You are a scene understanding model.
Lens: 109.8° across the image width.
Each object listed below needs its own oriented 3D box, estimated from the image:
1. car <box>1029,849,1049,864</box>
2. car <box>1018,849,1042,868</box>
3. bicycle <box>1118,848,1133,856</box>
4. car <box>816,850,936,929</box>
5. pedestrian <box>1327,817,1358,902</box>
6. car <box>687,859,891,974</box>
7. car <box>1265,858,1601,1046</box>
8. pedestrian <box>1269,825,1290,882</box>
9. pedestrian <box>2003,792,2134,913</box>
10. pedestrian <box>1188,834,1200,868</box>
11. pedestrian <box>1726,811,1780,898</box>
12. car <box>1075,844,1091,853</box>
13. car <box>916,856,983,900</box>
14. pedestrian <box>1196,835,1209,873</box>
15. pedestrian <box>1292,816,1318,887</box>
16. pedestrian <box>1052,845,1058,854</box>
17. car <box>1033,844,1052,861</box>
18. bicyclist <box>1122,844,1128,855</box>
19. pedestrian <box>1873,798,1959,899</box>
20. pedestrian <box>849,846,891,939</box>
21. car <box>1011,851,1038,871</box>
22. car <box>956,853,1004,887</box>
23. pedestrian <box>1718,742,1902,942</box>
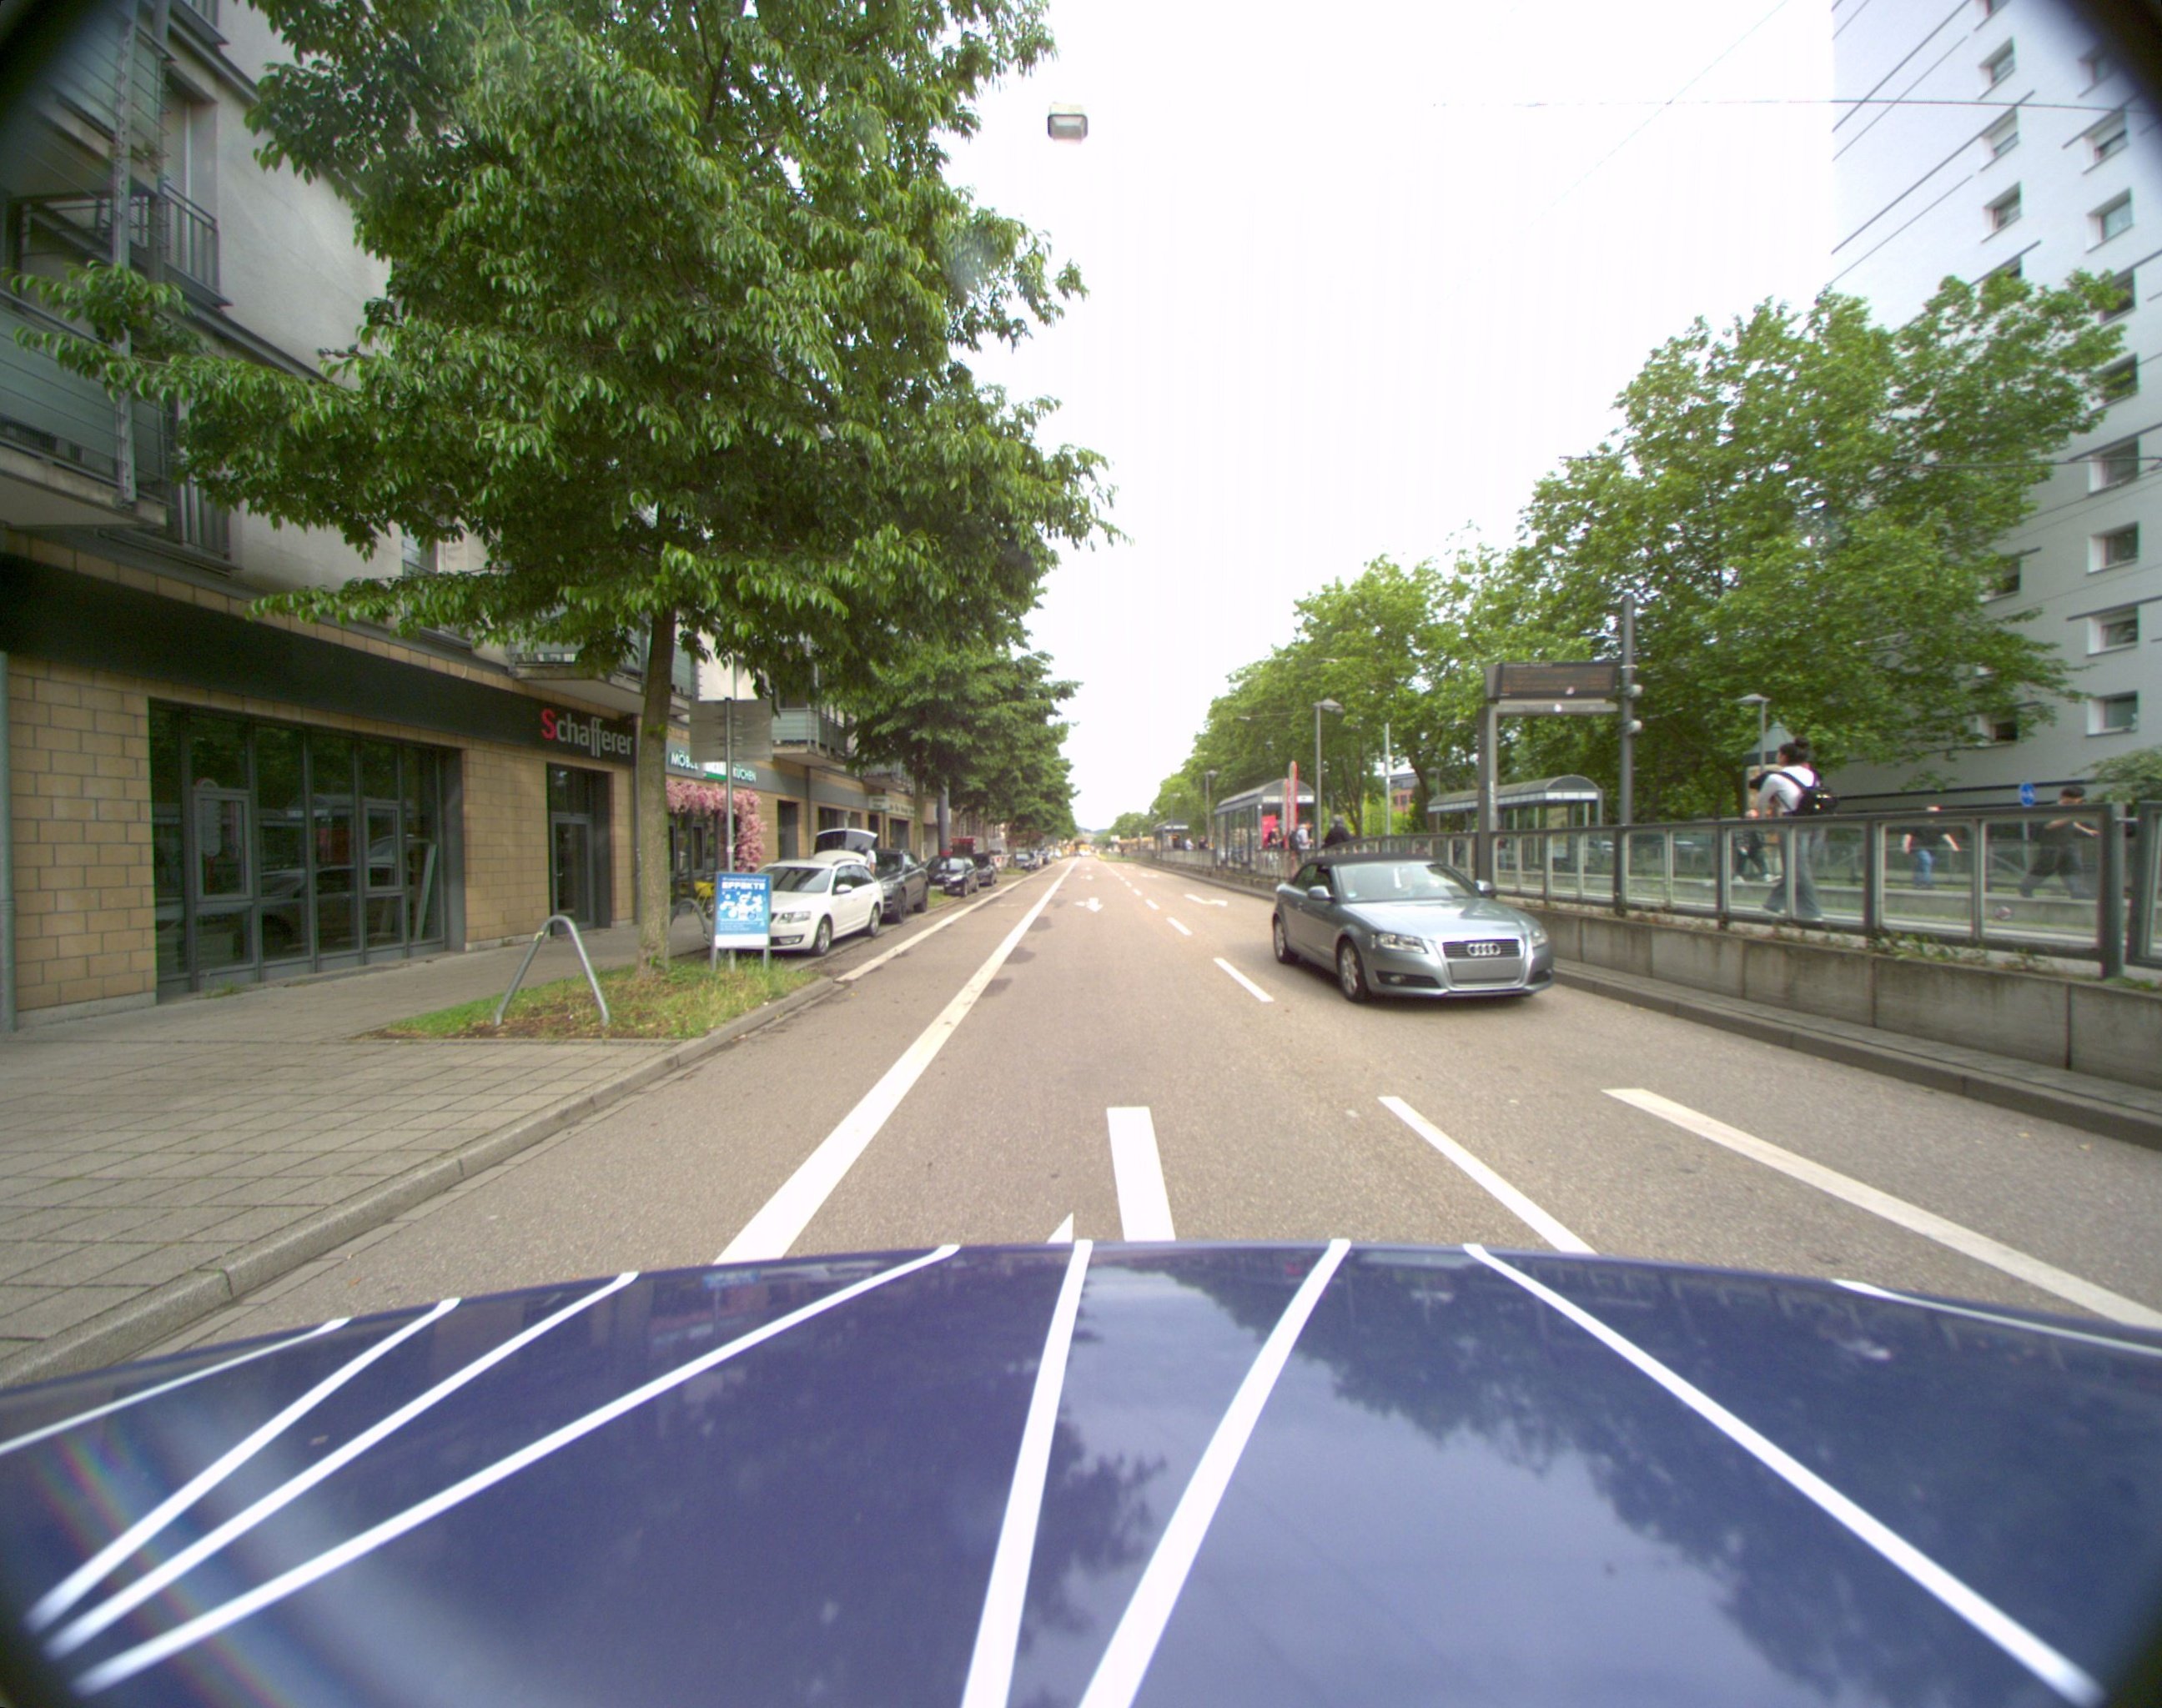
[{"bbox_3d":[-3.967,0.209,72.461,1.612,1.393,3.667,2,1,1],"label":"car"},{"bbox_3d":[-4.121,0.364,62.174,1.612,1.393,3.667,2,1,1],"label":"car"},{"bbox_3d":[5.730,-0.286,98.021,1.781,0.925,0.491,-2,1,0],"label":"bicycle"},{"bbox_3d":[-4.712,0.744,18.013,1.738,1.601,3.798,2,1,1],"label":"car"},{"bbox_3d":[5.709,0.119,16.589,0.521,1.794,0.605,-2,1,13],"label":"pedestrian"},{"bbox_3d":[-4.716,0.903,13.011,1.738,1.512,4.308,2,1,1],"label":"car"},{"bbox_3d":[3.328,0.805,8.154,1.716,1.379,4.099,-2,1,1],"label":"car"},{"bbox_3d":[6.315,-0.028,24.209,0.474,1.794,0.606,-2,1,26],"label":"pedestrian"},{"bbox_3d":[15.070,-0.028,11.626,0.882,1.746,0.850,-2,1,1],"label":"pedestrian"},{"bbox_3d":[6.143,-0.179,41.350,0.530,1.794,0.606,-2,1,14],"label":"pedestrian"},{"bbox_3d":[15.128,0.008,17.118,0.699,1.919,0.554,-2,1,1],"label":"pedestrian"},{"bbox_3d":[0.544,-1.336,178.423,2.003,2.002,4.189,-3,1,-27],"label":"car"},{"bbox_3d":[-4.634,0.796,27.285,1.612,1.370,4.167,2,1,1],"label":"car"},{"bbox_3d":[5.850,-0.002,36.533,0.530,1.794,0.606,-2,1,14],"label":"pedestrian"},{"bbox_3d":[5.751,-0.064,19.492,0.475,1.794,0.605,-2,1,5],"label":"pedestrian"},{"bbox_3d":[-5.764,-0.983,167.818,1.216,2.002,1.142,-1,1,1],"label":"pedestrian"},{"bbox_3d":[-3.961,-0.141,78.231,1.612,1.674,3.806,2,1,1],"label":"car"},{"bbox_3d":[5.679,-0.582,97.974,0.812,1.458,0.726,-1,1,0],"label":"bicyclist"},{"bbox_3d":[15.823,-0.104,14.414,0.882,1.823,0.666,-2,1,1],"label":"pedestrian"},{"bbox_3d":[-4.372,0.783,15.762,0.656,1.873,0.599,-1,1,1],"label":"pedestrian"},{"bbox_3d":[-4.161,0.480,56.255,1.612,1.393,3.667,2,1,1],"label":"car"},{"bbox_3d":[-4.553,0.686,34.747,1.612,1.393,3.667,2,1,1],"label":"car"},{"bbox_3d":[6.545,-0.104,6.880,0.720,1.661,0.979,-2,1,3],"label":"pedestrian"}]
